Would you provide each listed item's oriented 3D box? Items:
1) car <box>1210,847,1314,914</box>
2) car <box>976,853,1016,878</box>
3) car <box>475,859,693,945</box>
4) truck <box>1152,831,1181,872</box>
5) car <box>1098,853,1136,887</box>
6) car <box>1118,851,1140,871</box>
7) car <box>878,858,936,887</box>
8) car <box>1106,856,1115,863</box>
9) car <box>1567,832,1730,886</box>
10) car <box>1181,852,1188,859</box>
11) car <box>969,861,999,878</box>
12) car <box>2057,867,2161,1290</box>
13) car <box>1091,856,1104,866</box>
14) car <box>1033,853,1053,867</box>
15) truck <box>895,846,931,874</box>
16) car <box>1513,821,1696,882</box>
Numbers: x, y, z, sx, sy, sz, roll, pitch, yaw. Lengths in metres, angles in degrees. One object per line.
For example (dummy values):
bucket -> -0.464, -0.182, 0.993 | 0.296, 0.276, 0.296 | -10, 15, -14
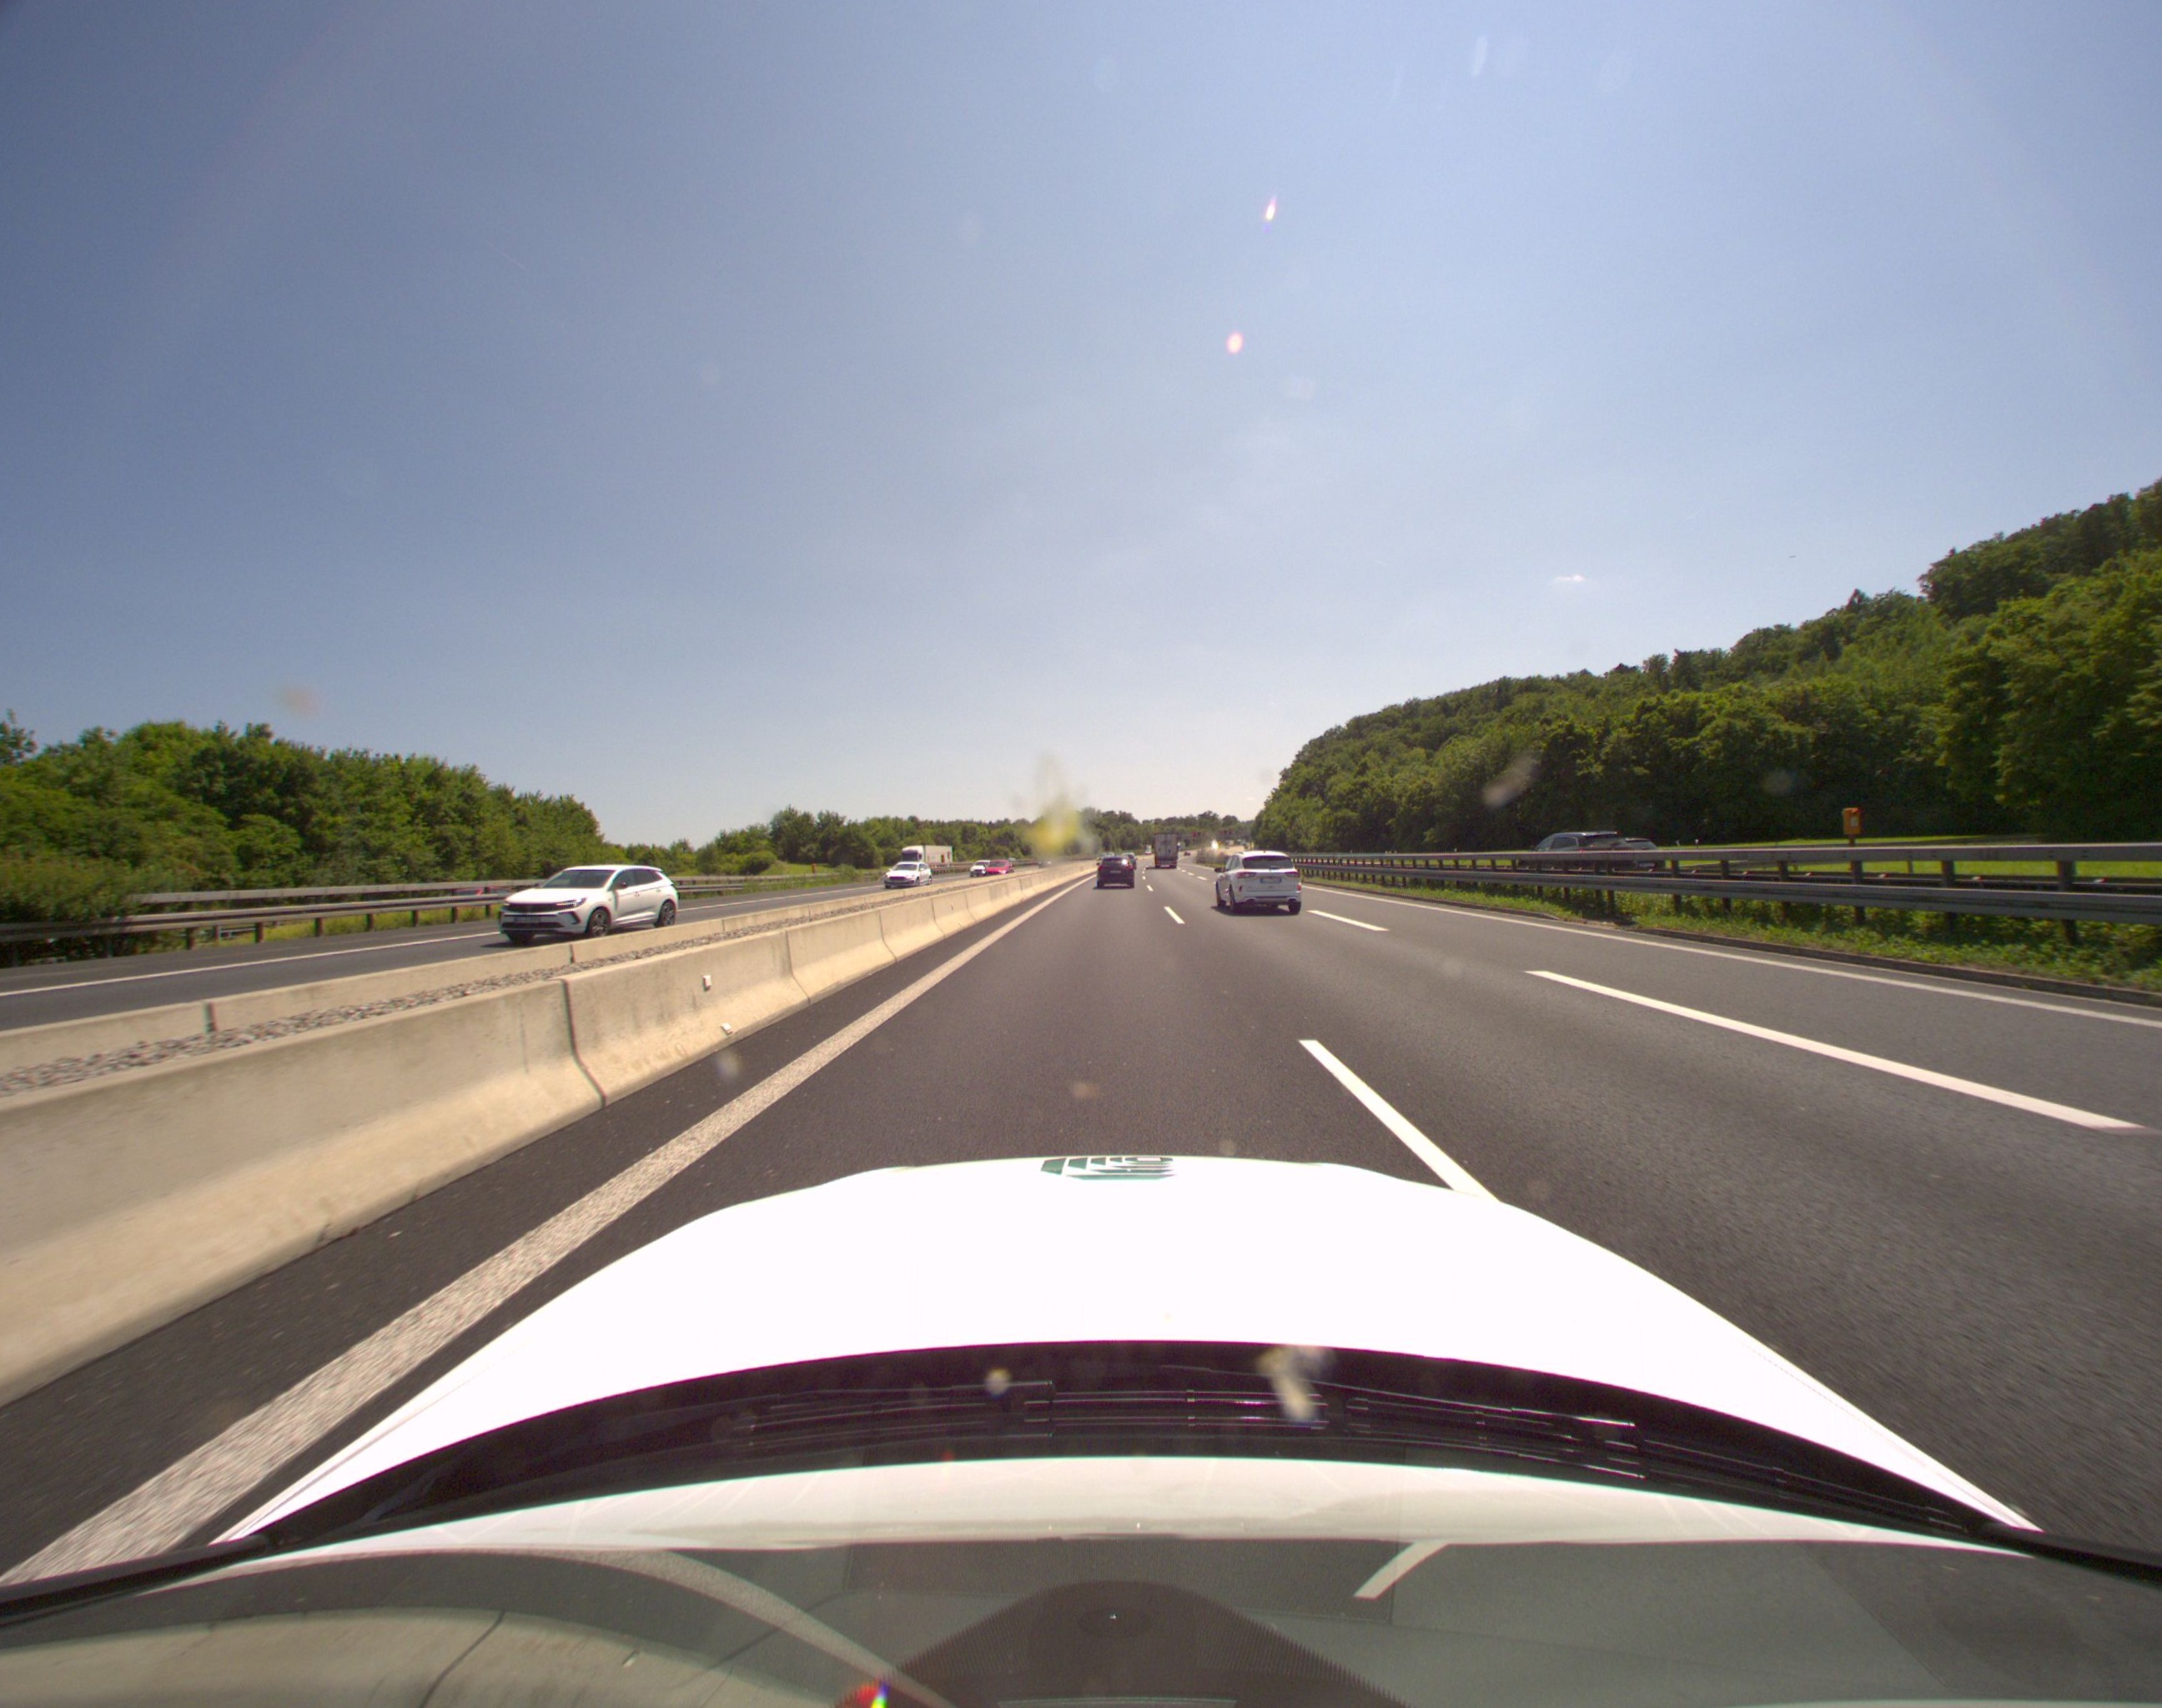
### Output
car -> 4.940, 0.694, 22.914 | 1.986, 1.662, 4.468 | -1, -1, 1
car -> -5.856, 0.800, 56.508 | 1.985, 1.659, 4.638 | -1, -1, 3
car -> -10.987, 0.974, 18.497 | 1.861, 1.666, 4.667 | -1, -1, 3
truck -> 9.893, -0.197, 95.415 | 3.018, 4.418, 12.034 | -1, -1, 5
car -> 1.732, 0.774, 40.512 | 1.773, 1.577, 4.000 | -1, -1, 1
car -> 5.347, 0.738, 90.203 | 1.983, 2.013, 4.009 | -4, 0, 7
car -> -9.986, 1.069, 47.148 | 1.985, 1.543, 5.044 | -1, -1, 3
car -> 7.434, 1.370, 204.752 | 1.779, 1.632, 4.938 | -1, 0, 6
car -> 19.562, 0.184, 28.434 | 1.987, 1.662, 5.226 | -1, -1, 0
car -> 31.985, 0.585, 252.350 | 1.982, 2.014, 4.010 | -1, -1, 9
car -> -8.437, 1.308, 71.243 | 1.842, 1.395, 4.004 | 0, 0, 4
car -> 4.525, 0.729, 1.054 | 1.788, 1.435, 3.967 | -1, -1, 1
car -> 3.256, 1.464, 159.756 | 2.025, 1.858, 5.382 | -1, -1, 5
car -> -5.126, 0.797, 110.252 | 1.985, 1.824, 4.910 | -1, -1, 4
truck -> -21.888, 0.739, 106.483 | 3.068, 3.504, 5.418 | -1, -1, 6
car -> 15.978, -0.030, 25.342 | 1.988, 1.662, 5.623 | -1, -1, -1
